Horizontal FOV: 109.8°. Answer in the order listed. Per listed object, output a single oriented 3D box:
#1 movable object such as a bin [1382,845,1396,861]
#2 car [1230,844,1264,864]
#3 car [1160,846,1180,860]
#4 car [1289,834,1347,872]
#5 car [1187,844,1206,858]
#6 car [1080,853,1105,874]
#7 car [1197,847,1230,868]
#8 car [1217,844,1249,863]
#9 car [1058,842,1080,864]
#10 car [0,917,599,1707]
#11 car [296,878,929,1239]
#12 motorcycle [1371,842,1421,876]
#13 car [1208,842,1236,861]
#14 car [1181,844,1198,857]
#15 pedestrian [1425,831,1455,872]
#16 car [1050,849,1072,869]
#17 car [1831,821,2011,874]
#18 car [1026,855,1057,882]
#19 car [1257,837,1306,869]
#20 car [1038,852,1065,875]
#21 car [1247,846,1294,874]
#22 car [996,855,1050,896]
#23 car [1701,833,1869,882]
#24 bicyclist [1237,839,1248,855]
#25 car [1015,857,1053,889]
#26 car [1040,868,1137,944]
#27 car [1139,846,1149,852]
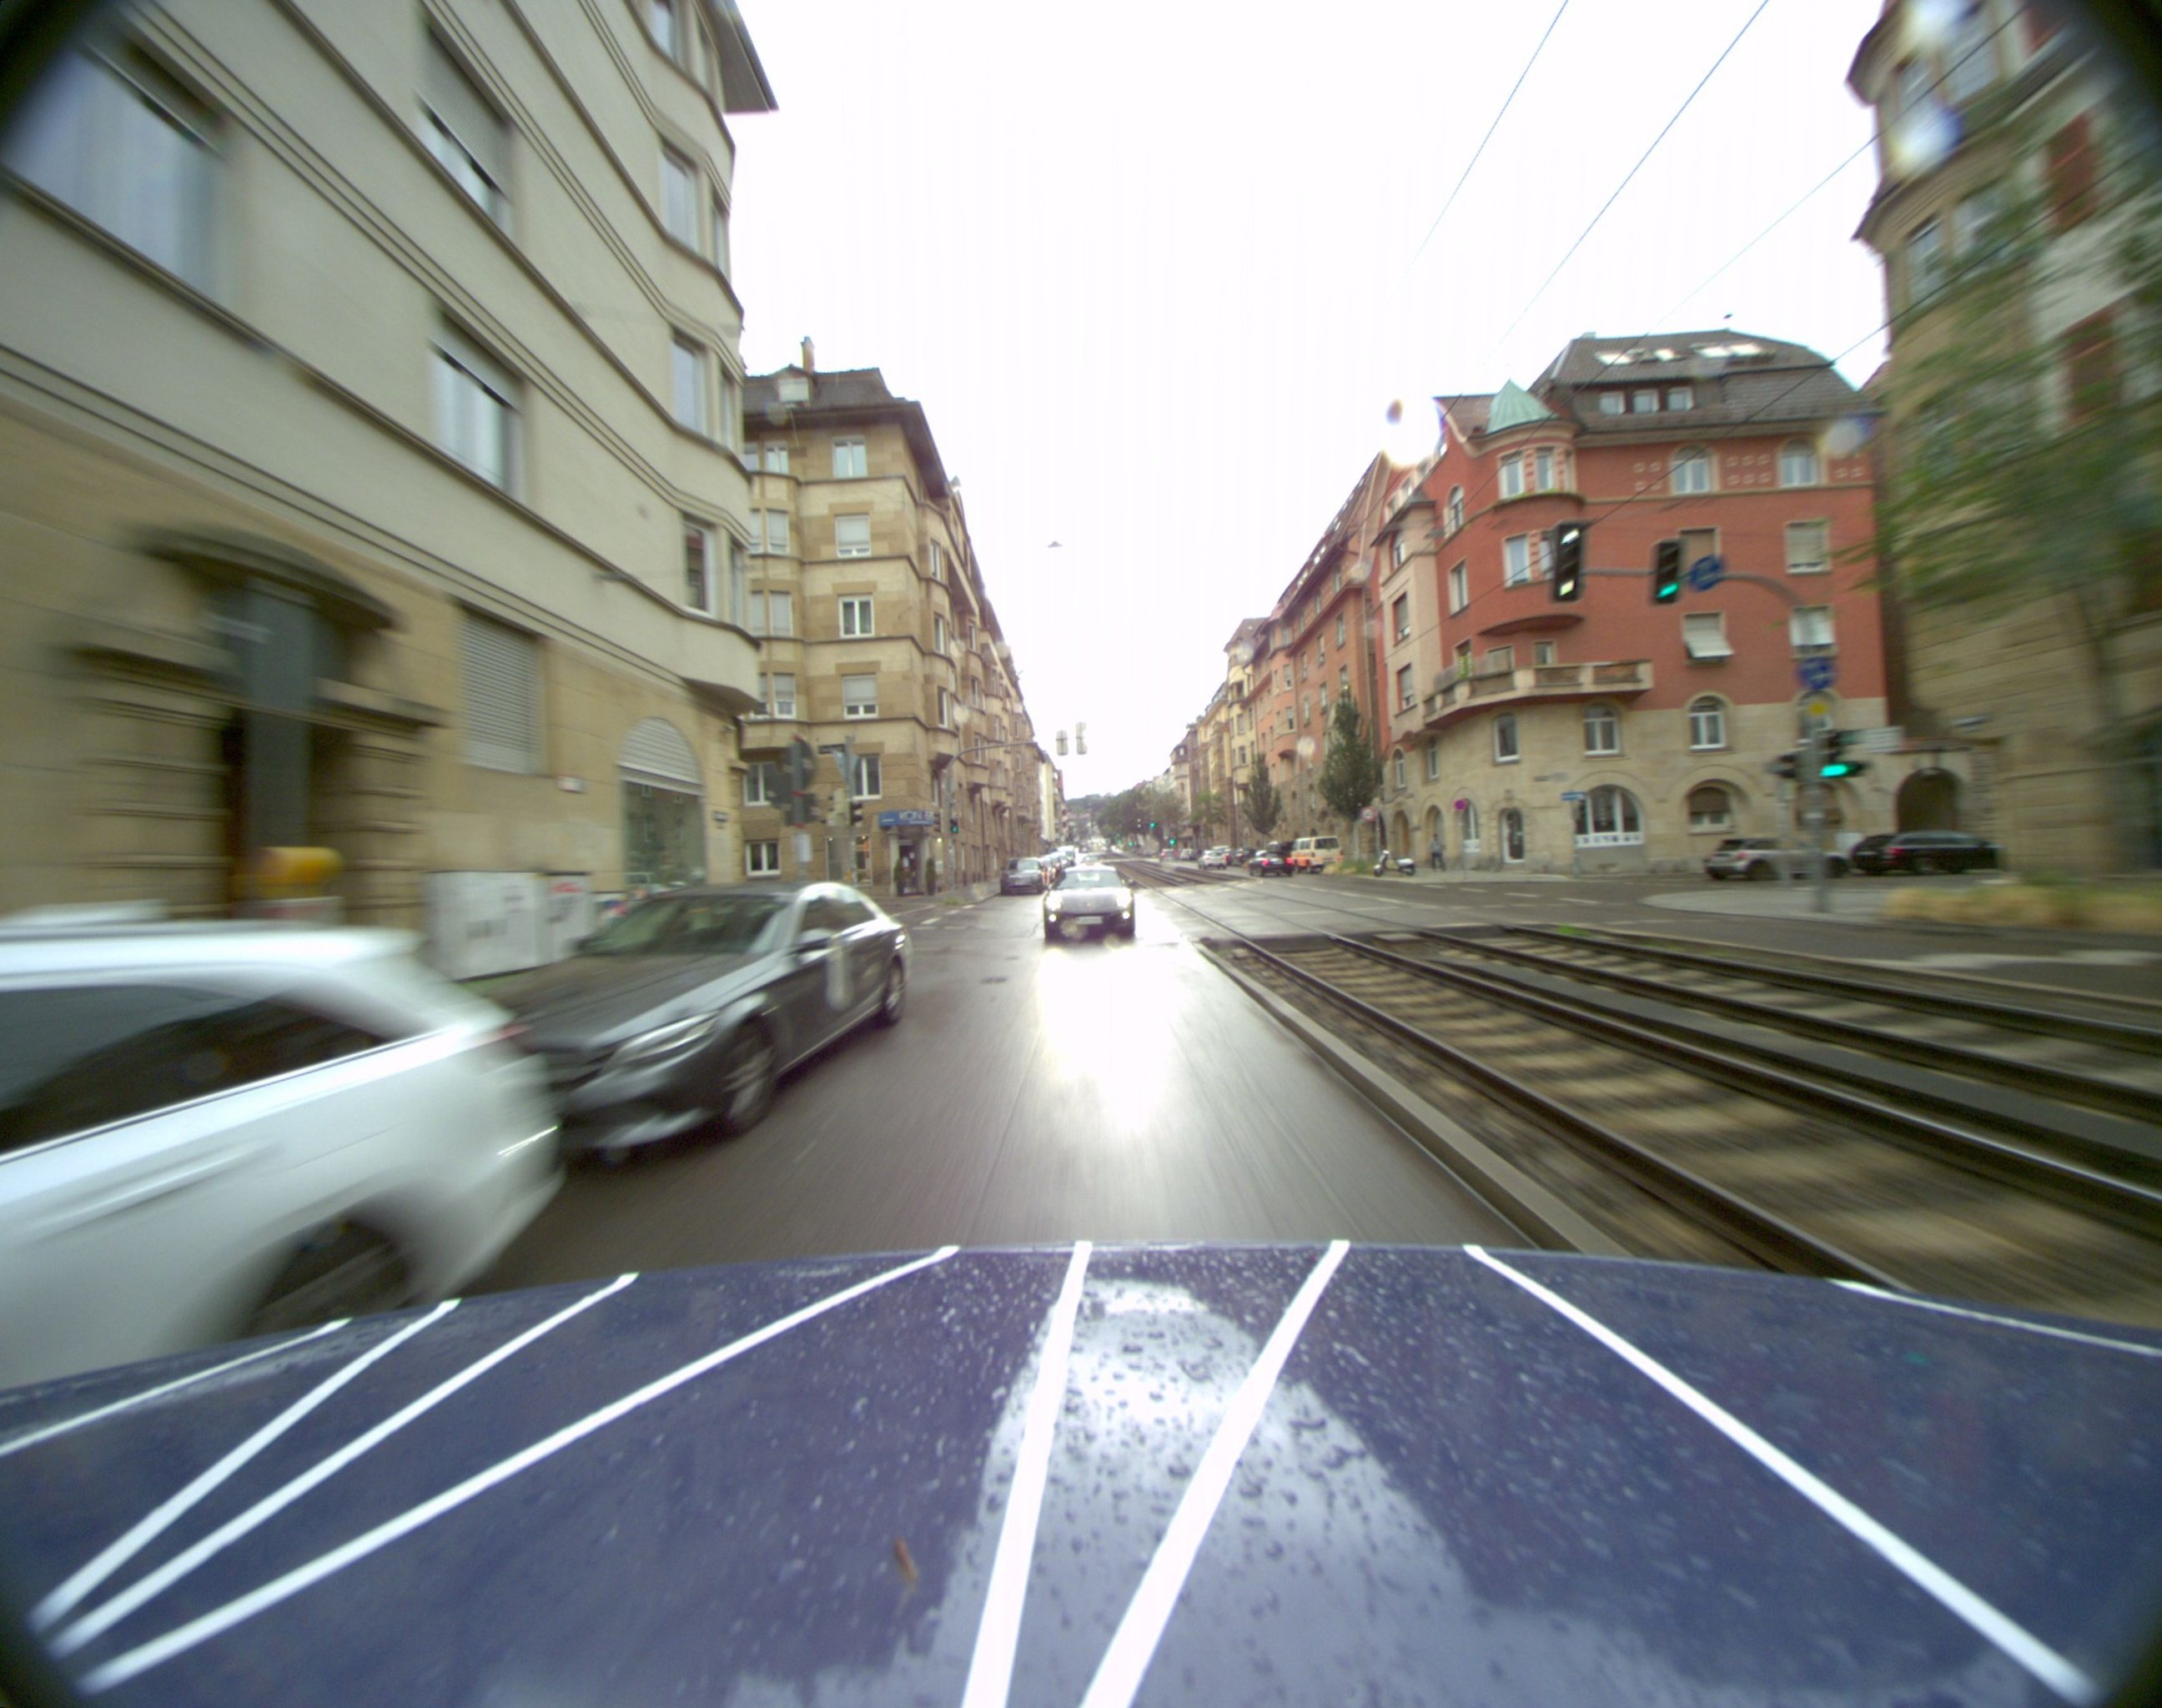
[{"bbox_3d":[17.995,-0.047,44.409,0.547,0.893,0.656,-2,1,4],"label":"movable object such as a bin"},{"bbox_3d":[13.481,-0.014,61.720,1.760,1.396,3.694,-4,1,-2],"label":"car"},{"bbox_3d":[10.705,-0.123,91.716,1.926,1.608,4.128,-2,1,0],"label":"car"},{"bbox_3d":[13.077,-0.086,42.178,1.732,1.919,4.475,-2,1,0],"label":"car"},{"bbox_3d":[13.824,-0.390,90.885,1.717,1.473,3.712,-5,1,3],"label":"car"},{"bbox_3d":[0.922,0.691,59.761,1.793,1.459,4.257,-2,1,1],"label":"car"},{"bbox_3d":[10.334,0.237,59.424,1.785,1.494,4.061,-2,1,0],"label":"car"},{"bbox_3d":[13.289,-0.090,66.628,1.760,1.482,4.597,-4,1,-1],"label":"car"},{"bbox_3d":[-1.373,-0.166,91.338,1.991,2.520,6.155,-3,1,3],"label":"car"},{"bbox_3d":[-2.815,1.043,0.563,1.716,1.459,4.773,-2,1,1],"label":"car"},{"bbox_3d":[-2.661,1.039,5.929,1.715,1.402,4.817,-2,1,3],"label":"car"},{"bbox_3d":[13.087,0.205,31.611,1.779,1.367,0.769,-1,2,33],"label":"motorcycle"},{"bbox_3d":[13.371,-0.259,72.290,1.759,1.663,4.259,-5,1,1],"label":"car"},{"bbox_3d":[13.831,-0.425,97.006,1.759,1.443,4.043,-5,1,3],"label":"car"},{"bbox_3d":[15.721,-0.127,33.312,0.718,1.710,0.892,-8,1,1],"label":"pedestrian"},{"bbox_3d":[-1.826,0.462,70.364,1.811,1.758,3.962,-2,1,1],"label":"car"},{"bbox_3d":[28.200,-0.216,25.605,3.998,1.565,1.999,-2,1,-3],"label":"car"},{"bbox_3d":[-2.365,0.845,46.438,1.598,1.478,3.522,-2,0,2],"label":"car"},{"bbox_3d":[13.085,-0.125,49.808,1.910,1.919,4.831,-2,1,1],"label":"car"},{"bbox_3d":[-2.111,0.670,55.514,1.774,1.592,3.999,-1,1,0],"label":"car"},{"bbox_3d":[10.244,0.305,41.321,1.657,1.454,3.734,-1,0,1],"label":"car"},{"bbox_3d":[-2.448,0.889,33.189,1.872,1.540,3.991,-3,1,1],"label":"car"},{"bbox_3d":[23.679,0.101,25.665,3.997,1.458,1.747,-2,1,1],"label":"car"},{"bbox_3d":[16.591,-0.745,78.081,0.894,1.592,0.774,-2,1,1],"label":"bicyclist"},{"bbox_3d":[-2.378,0.952,39.050,1.710,1.444,3.532,-3,1,-1],"label":"car"},{"bbox_3d":[0.195,0.979,15.848,1.737,1.262,4.258,0,0,1],"label":"car"},{"bbox_3d":[13.795,-1.067,166.774,1.794,1.339,4.257,-2,1,1],"label":"car"}]
